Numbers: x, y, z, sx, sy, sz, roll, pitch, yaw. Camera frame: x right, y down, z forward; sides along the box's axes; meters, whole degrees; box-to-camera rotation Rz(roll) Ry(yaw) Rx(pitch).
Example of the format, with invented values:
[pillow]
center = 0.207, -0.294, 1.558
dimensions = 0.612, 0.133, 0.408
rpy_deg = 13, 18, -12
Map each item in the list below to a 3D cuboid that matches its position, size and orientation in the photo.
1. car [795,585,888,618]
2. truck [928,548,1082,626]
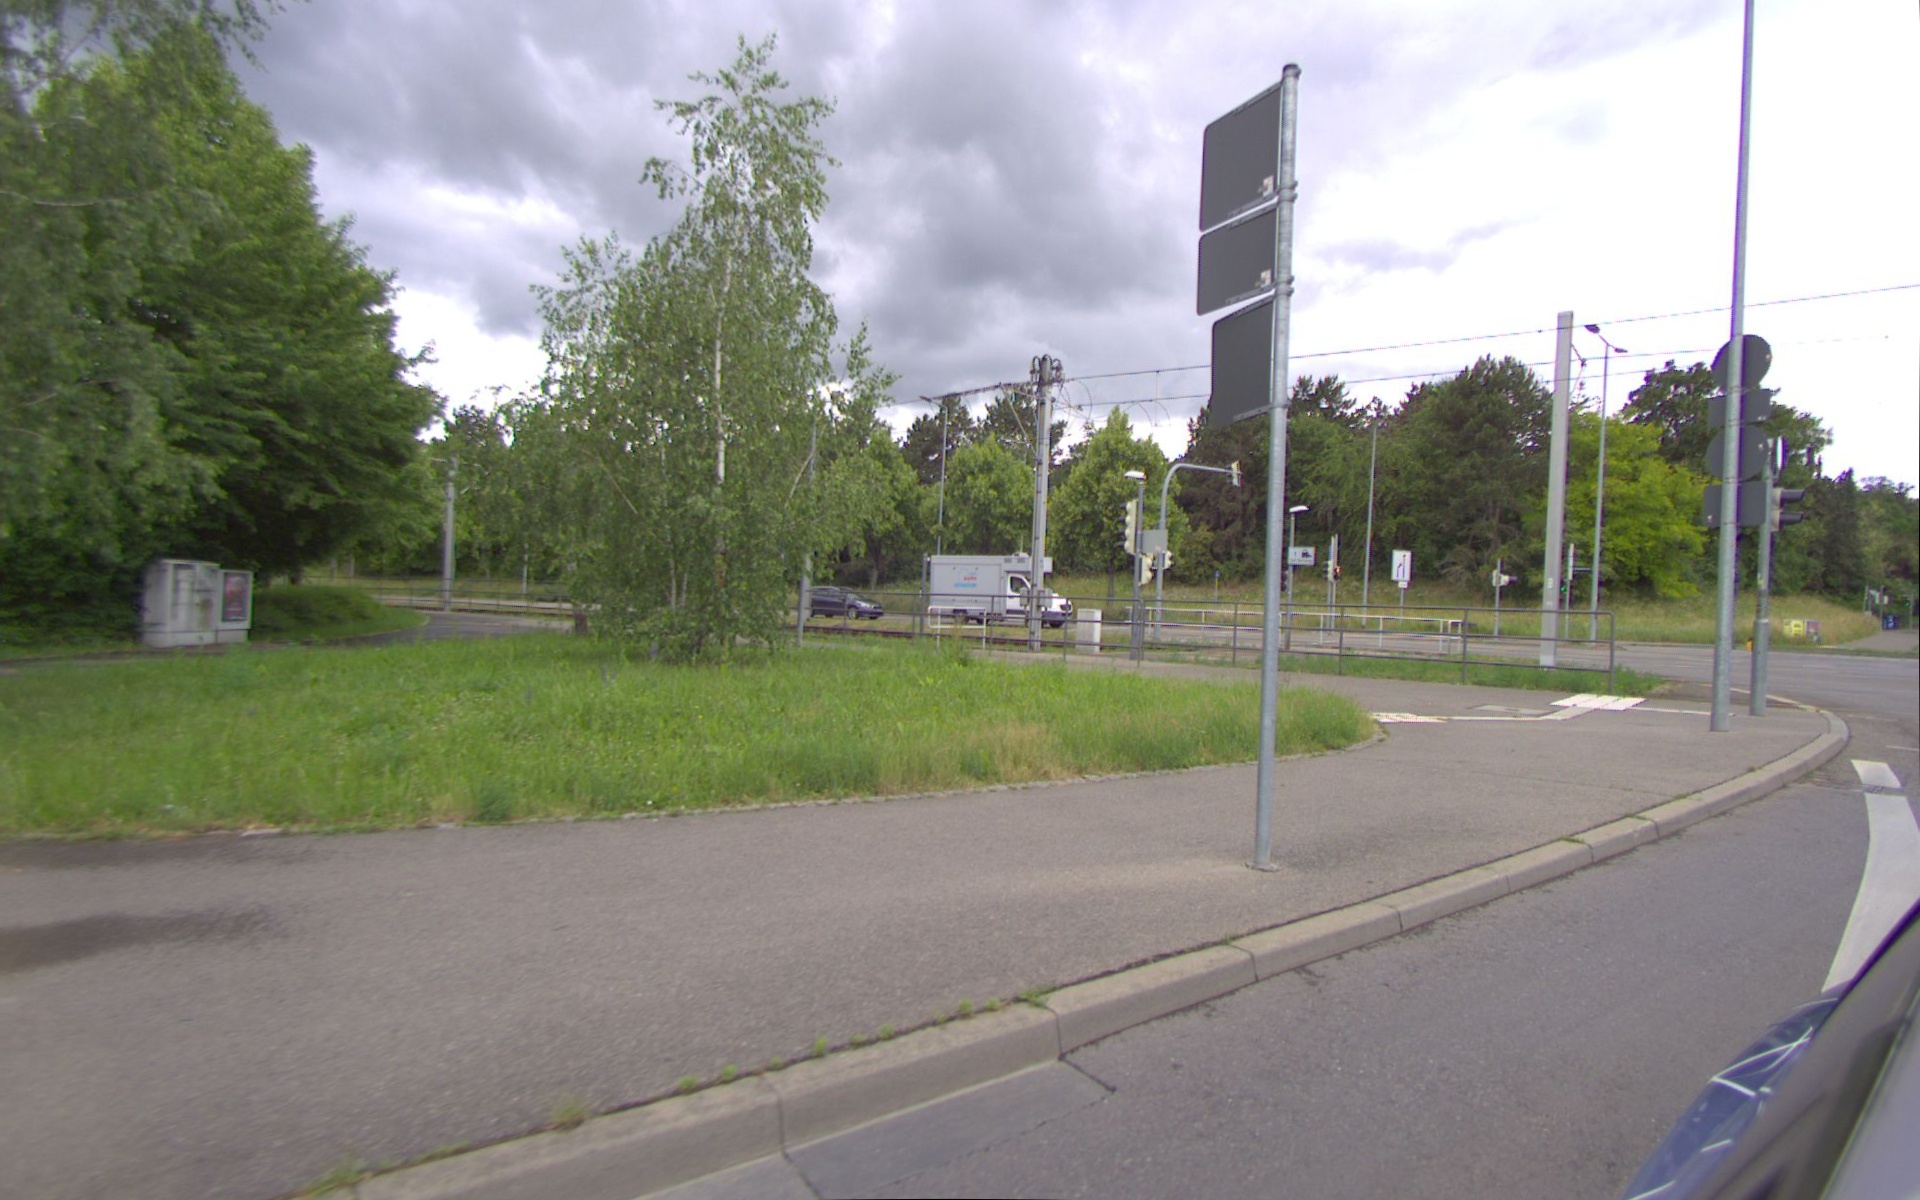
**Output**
[car]
center = -5.509, 0.051, 47.015
dimensions = 3.968, 1.415, 1.978
rpy_deg = 1, 1, 31
[truck]
center = 1.812, -0.619, 42.241
dimensions = 6.228, 3.047, 2.088
rpy_deg = 1, 3, 33
